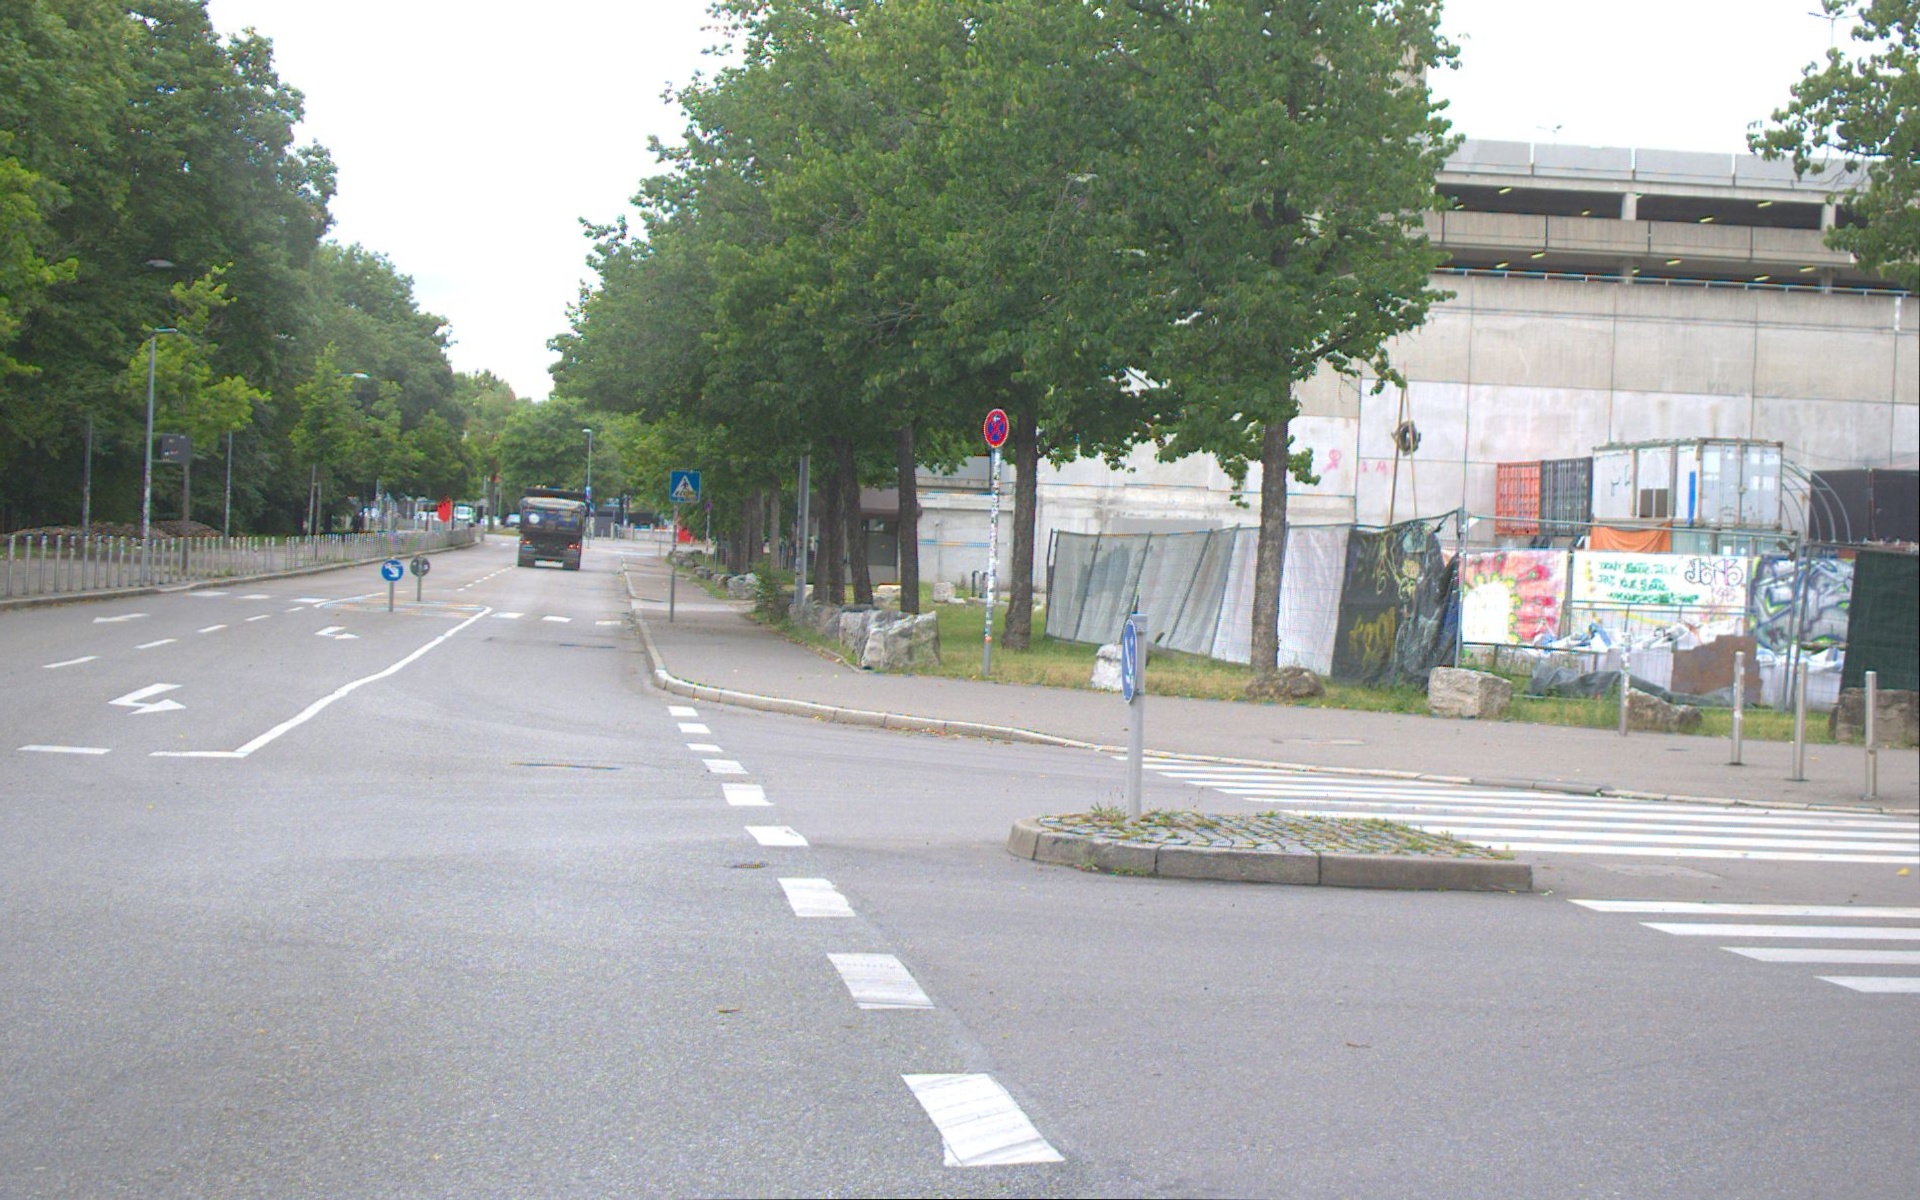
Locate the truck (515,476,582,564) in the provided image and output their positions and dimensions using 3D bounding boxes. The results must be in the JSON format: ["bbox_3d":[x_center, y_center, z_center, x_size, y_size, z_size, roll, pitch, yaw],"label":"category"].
[{"bbox_3d":[-17.035,-3.265,142.524,2.672,3.546,7.925,0,1,-7],"label":"truck"}]
